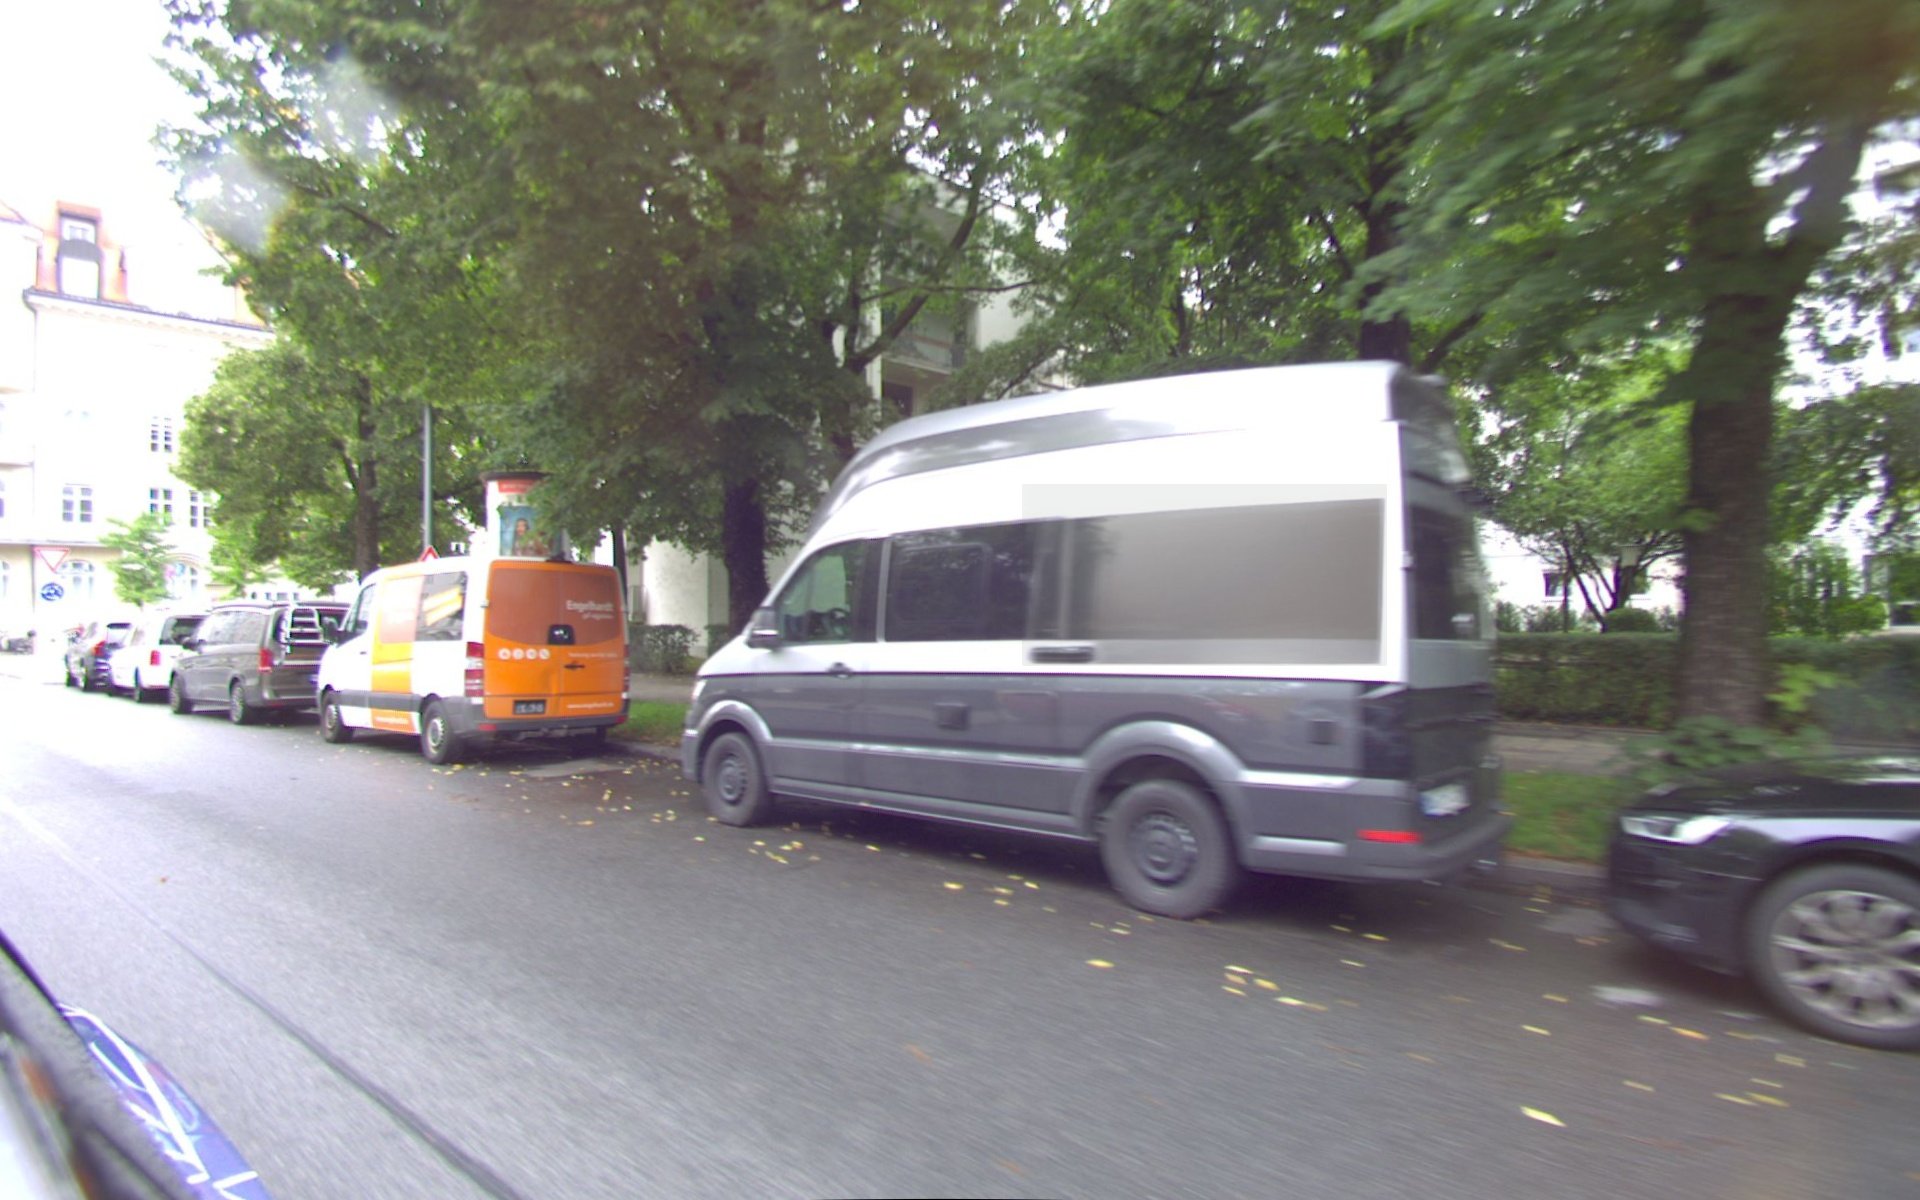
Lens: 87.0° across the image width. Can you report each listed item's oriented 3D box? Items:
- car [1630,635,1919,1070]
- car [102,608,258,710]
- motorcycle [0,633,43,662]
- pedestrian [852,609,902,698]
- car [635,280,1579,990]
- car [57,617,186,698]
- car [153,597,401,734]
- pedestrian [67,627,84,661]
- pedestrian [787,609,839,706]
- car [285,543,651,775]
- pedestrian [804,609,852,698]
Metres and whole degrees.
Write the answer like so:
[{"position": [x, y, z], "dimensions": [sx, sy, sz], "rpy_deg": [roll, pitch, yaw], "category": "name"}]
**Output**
[{"position": [4.927, 0.829, 3.113], "dimensions": [4.575, 1.449, 1.771], "rpy_deg": [-2, -3, 41], "category": "car"}, {"position": [-16.839, 1.220, 21.753], "dimensions": [4.833, 1.952, 1.859], "rpy_deg": [-2, -3, 43], "category": "car"}, {"position": [-46.000, 2.304, 49.098], "dimensions": [0.824, 1.336, 2.213], "rpy_deg": [0, -1, 44], "category": "motorcycle"}, {"position": [-1.500, 0.954, 18.237], "dimensions": [0.639, 1.563, 0.624], "rpy_deg": [-2, -1, 41], "category": "pedestrian"}, {"position": [0.425, 0.156, 6.839], "dimensions": [6.230, 2.876, 1.925], "rpy_deg": [0, -1, 40], "category": "car"}, {"position": [-20.990, 1.339, 25.260], "dimensions": [5.060, 1.781, 1.859], "rpy_deg": [0, -1, 43], "category": "car"}, {"position": [-11.677, 1.041, 17.139], "dimensions": [5.453, 1.979, 1.926], "rpy_deg": [-2, -3, 39], "category": "car"}, {"position": [-44.136, 2.190, 50.500], "dimensions": [0.597, 1.677, 0.464], "rpy_deg": [1, -1, -38], "category": "pedestrian"}, {"position": [-2.520, 0.966, 17.341], "dimensions": [0.537, 1.603, 0.691], "rpy_deg": [-2, -1, 41], "category": "pedestrian"}, {"position": [-6.408, 0.683, 12.862], "dimensions": [5.402, 2.366, 2.093], "rpy_deg": [-2, -2, 39], "category": "car"}, {"position": [-2.376, 0.954, 18.230], "dimensions": [0.537, 1.560, 0.639], "rpy_deg": [-2, -1, 41], "category": "pedestrian"}]
